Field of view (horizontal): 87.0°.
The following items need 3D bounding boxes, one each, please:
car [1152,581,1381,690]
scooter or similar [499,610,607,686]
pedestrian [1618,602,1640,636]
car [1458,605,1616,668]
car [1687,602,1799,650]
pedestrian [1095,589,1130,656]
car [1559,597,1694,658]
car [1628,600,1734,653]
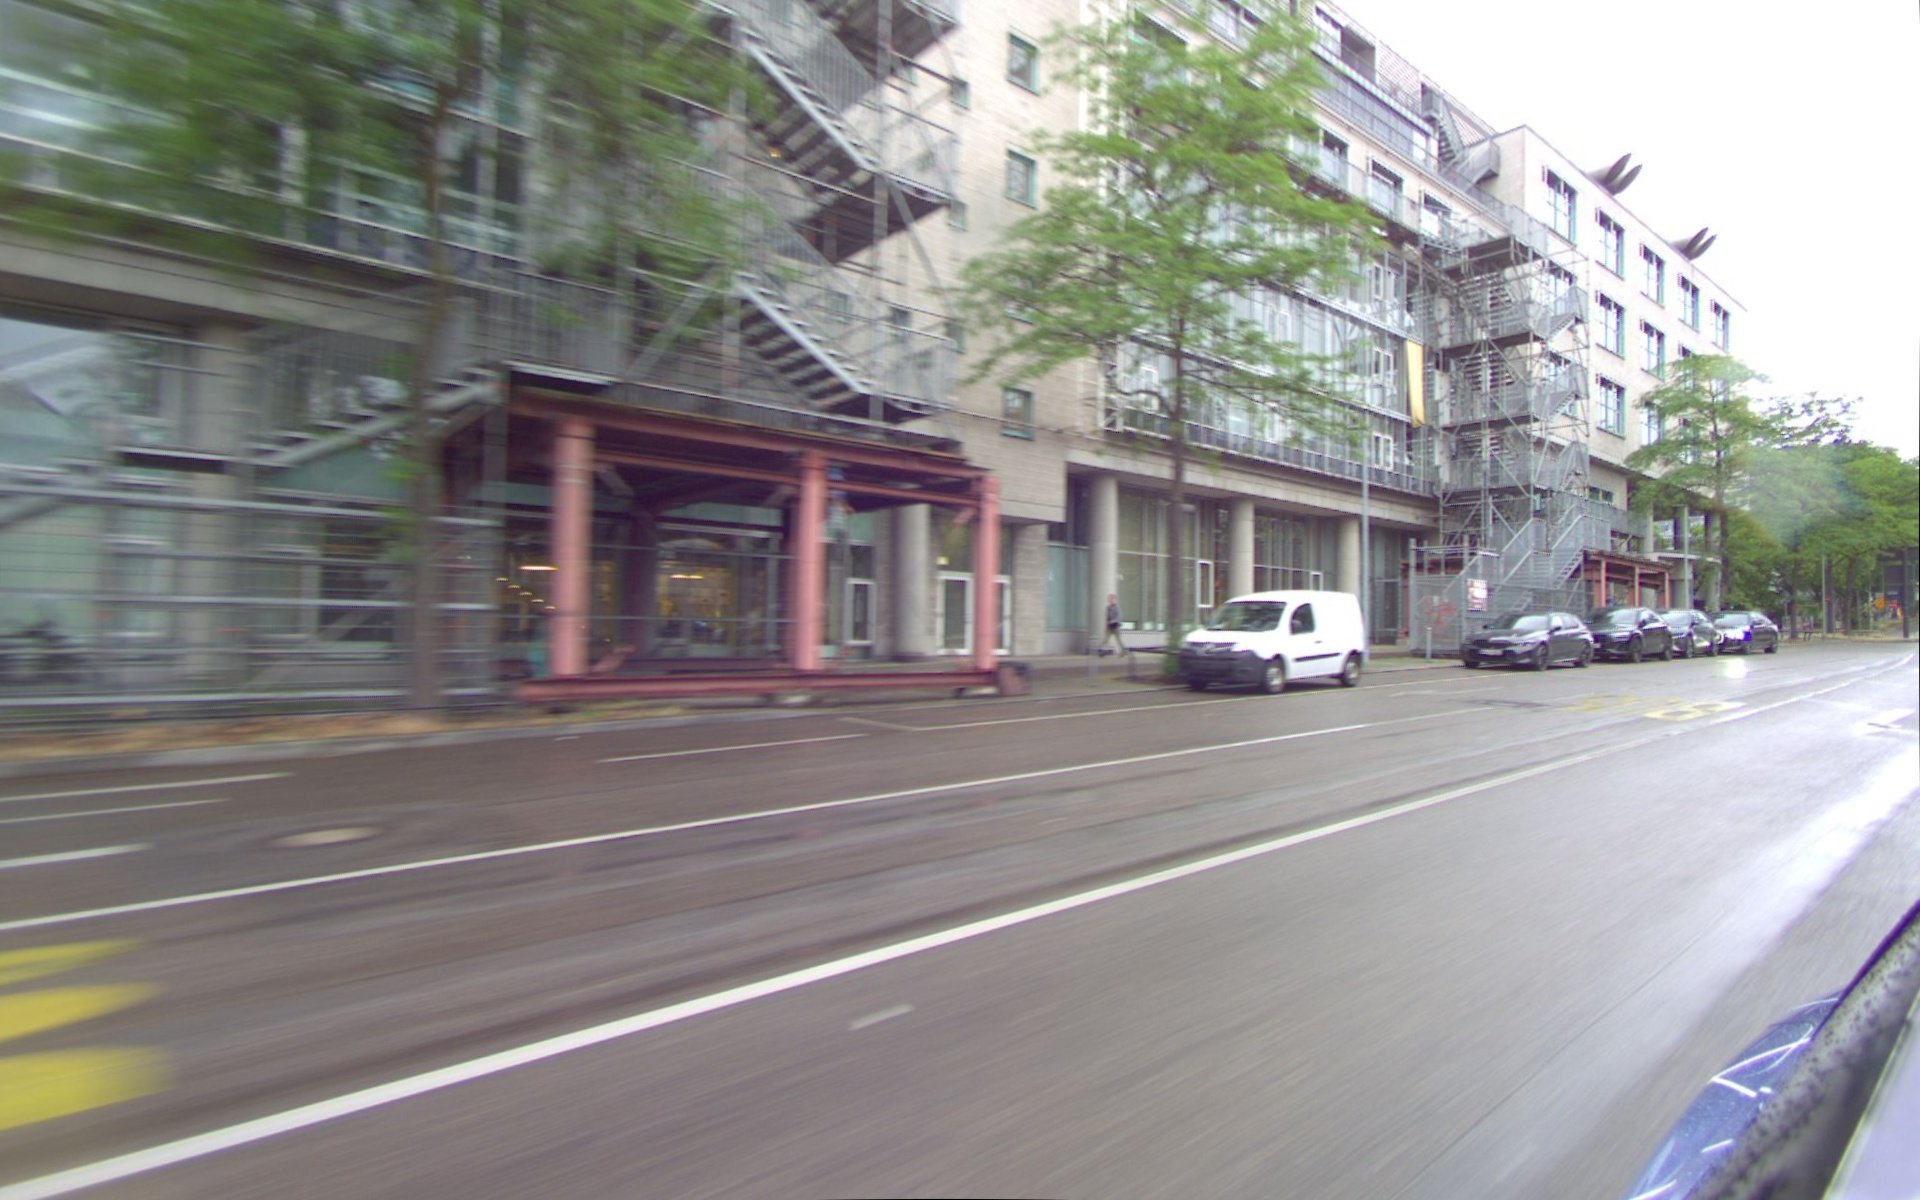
[{"bbox_3d":[5.746,0.593,18.682,4.447,1.772,1.997,1,-1,-41],"label":"car"},{"bbox_3d":[-6.676,0.760,16.628,1.520,1.176,0.632,1,-1,-41],"label":"scooter or similar"},{"bbox_3d":[32.081,0.910,48.517,0.908,1.616,0.704,1,-1,-43],"label":"pedestrian"},{"bbox_3d":[14.791,0.877,25.853,4.831,1.456,1.873,1,-1,-39],"label":"car"},{"bbox_3d":[28.663,0.921,36.974,5.191,1.621,1.999,1,-1,-38],"label":"car"},{"bbox_3d":[4.125,0.599,27.384,0.641,1.764,0.678,1,-1,-38],"label":"pedestrian"},{"bbox_3d":[19.901,0.789,30.150,4.773,1.667,1.998,1,-1,-39],"label":"car"},{"bbox_3d":[23.936,0.858,33.554,4.512,1.621,1.864,1,-1,-41],"label":"car"}]
